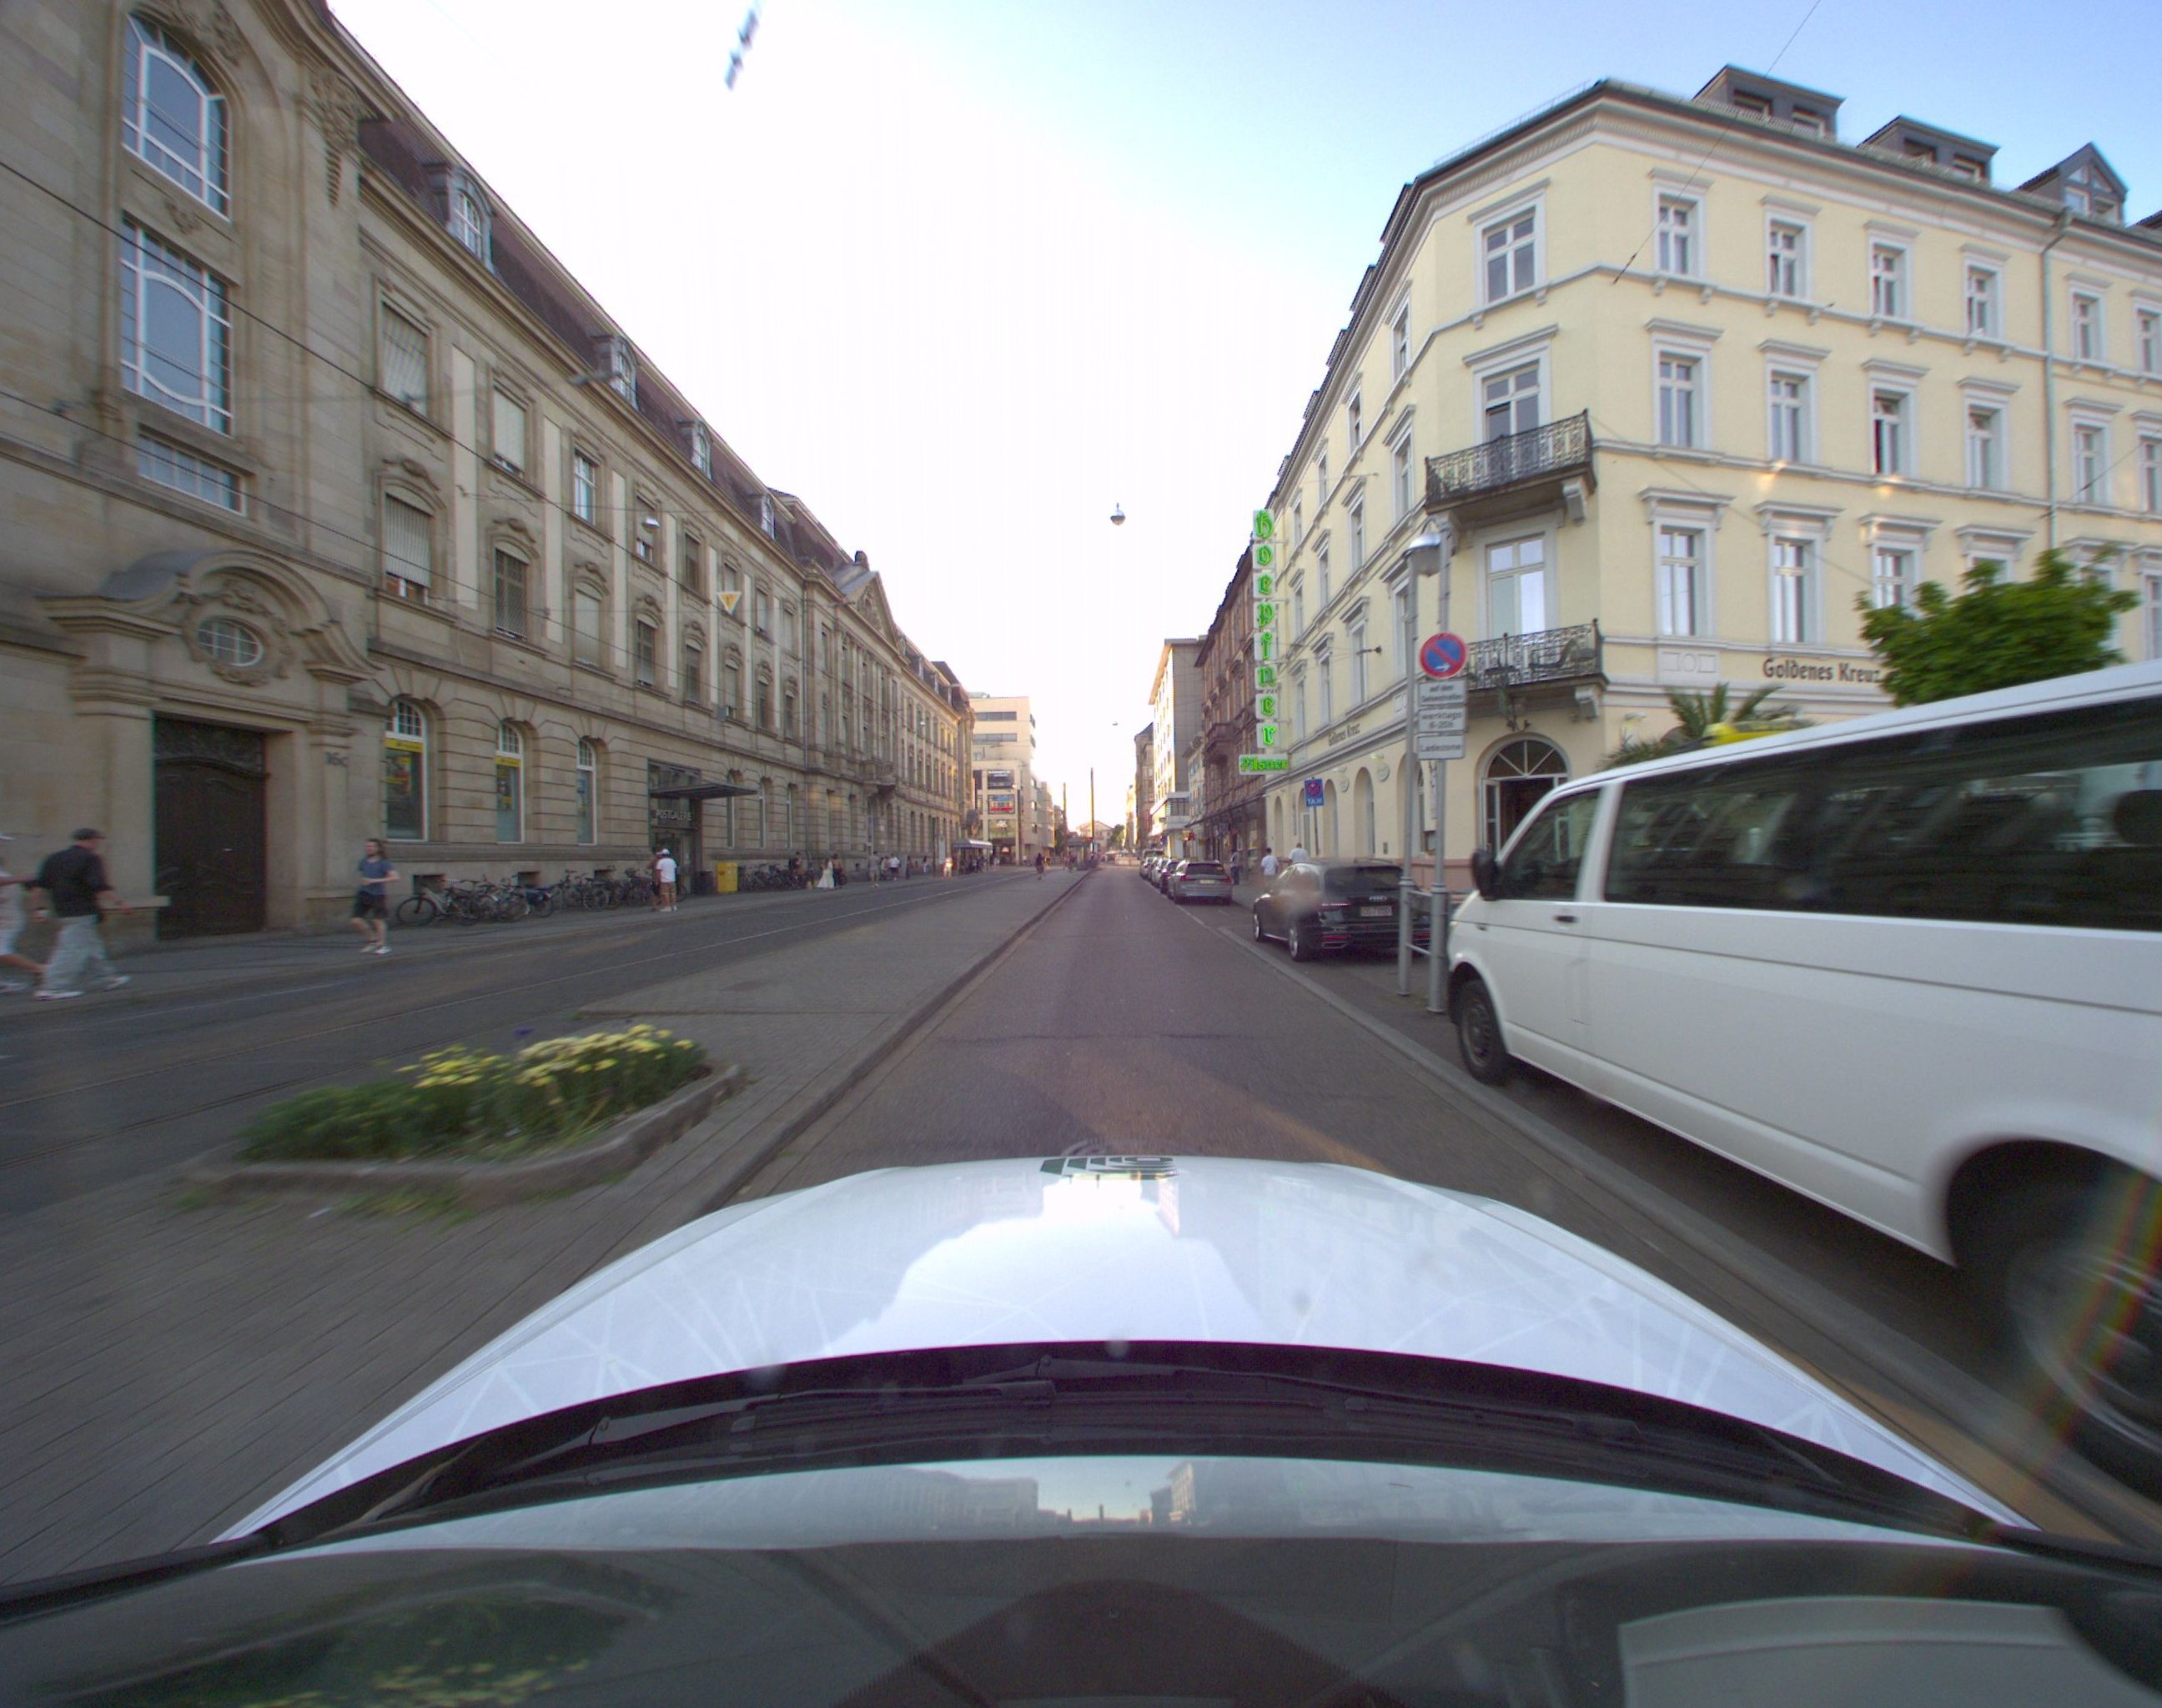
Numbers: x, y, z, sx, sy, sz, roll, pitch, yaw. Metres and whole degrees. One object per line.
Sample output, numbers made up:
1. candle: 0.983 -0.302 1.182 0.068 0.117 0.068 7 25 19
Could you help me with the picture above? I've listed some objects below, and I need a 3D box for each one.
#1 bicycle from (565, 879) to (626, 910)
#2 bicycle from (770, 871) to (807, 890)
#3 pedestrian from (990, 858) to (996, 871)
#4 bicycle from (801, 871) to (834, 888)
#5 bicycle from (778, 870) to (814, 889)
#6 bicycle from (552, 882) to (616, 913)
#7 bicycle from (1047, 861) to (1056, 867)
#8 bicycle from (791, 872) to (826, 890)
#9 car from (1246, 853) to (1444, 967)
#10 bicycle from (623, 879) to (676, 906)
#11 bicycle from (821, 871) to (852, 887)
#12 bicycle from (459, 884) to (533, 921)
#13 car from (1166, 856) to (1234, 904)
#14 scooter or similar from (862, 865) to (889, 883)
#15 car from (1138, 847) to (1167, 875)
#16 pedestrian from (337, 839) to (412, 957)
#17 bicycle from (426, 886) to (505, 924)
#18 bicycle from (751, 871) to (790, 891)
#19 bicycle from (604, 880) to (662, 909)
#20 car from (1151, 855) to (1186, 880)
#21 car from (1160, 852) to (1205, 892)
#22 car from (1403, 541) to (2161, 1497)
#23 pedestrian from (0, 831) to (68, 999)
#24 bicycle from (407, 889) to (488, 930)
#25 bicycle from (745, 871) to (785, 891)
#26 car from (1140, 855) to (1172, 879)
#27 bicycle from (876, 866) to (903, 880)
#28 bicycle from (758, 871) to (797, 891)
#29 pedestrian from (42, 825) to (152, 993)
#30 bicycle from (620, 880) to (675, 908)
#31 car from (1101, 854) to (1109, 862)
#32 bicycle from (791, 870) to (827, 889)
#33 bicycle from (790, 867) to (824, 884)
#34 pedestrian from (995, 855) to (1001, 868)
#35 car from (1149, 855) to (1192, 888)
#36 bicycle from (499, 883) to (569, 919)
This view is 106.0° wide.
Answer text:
1. bicycle: -14.265 1.182 23.925 1.567 0.874 0.451 0 -1 6
2. bicycle: -13.585 1.225 37.824 1.567 0.874 0.451 0 -1 6
3. pedestrian: -10.076 1.179 93.138 0.519 1.525 0.499 0 -1 -15
4. bicycle: -13.811 1.350 42.742 1.567 0.874 0.451 0 -1 6
5. bicycle: -13.456 1.216 38.458 1.567 0.874 0.451 0 -1 6
6. bicycle: -14.115 1.231 23.139 1.567 0.874 0.451 0 -1 6
7. bicycle: -5.420 1.867 149.555 1.688 1.122 0.451 0 -1 3
8. bicycle: -13.362 1.334 39.955 1.567 0.874 0.451 0 -1 6
9. car: 3.850 0.746 12.740 1.690 1.390 4.549 -2 -1 2
10. bicycle: -14.410 1.282 27.188 1.567 0.874 0.451 0 -1 6
11. bicycle: -13.406 1.365 44.607 1.567 0.874 0.451 0 -1 6
12. bicycle: -14.358 1.191 19.997 1.567 0.874 0.451 0 -1 6
13. car: 4.004 0.826 28.121 1.799 1.475 4.695 0 0 1
14. scooter or similar: -12.682 1.232 50.224 1.539 1.068 0.451 0 -1 6
15. car: 5.297 0.539 61.181 1.870 1.923 4.701 1 -1 1
16. pedestrian: -10.832 0.654 12.503 0.679 1.736 0.480 -2 0 -15
17. bicycle: -14.417 1.189 19.077 1.567 0.874 0.451 0 -1 6
18. bicycle: -13.774 1.202 36.146 1.567 0.874 0.451 0 -1 6
19. bicycle: -13.897 1.259 25.271 1.567 0.874 0.451 0 -1 6
20. car: 5.242 0.810 49.190 1.720 1.477 4.821 0 -1 1
21. car: 4.335 0.767 35.204 1.725 1.590 4.447 1 -1 5
22. car: 3.320 0.359 3.596 1.845 2.067 5.218 -2 -1 2
23. pedestrian: -11.554 0.642 8.662 0.681 1.736 0.672 -2 0 -20
24. bicycle: -14.404 1.256 18.536 1.567 0.874 0.451 0 -1 6
25. bicycle: -13.765 1.166 35.499 1.567 0.874 0.451 0 -1 6
26. car: 5.011 0.866 54.639 1.799 1.483 4.780 1 0 1
27. bicycle: -12.274 1.215 52.207 1.567 0.874 0.451 0 -1 6
28. bicycle: -13.691 1.218 36.729 1.567 0.874 0.451 0 -1 6
29. pedestrian: -10.678 0.570 8.860 0.653 1.736 0.588 -2 0 -43
30. bicycle: -13.989 1.271 26.268 1.567 0.874 0.451 0 -1 6
31. car: 5.913 0.934 204.655 1.986 1.904 4.001 0 -1 1
32. bicycle: -13.086 1.217 39.213 1.567 0.874 0.451 0 -1 6
33. bicycle: -13.824 1.079 41.122 1.567 0.874 0.451 0 -1 6
34. pedestrian: -9.555 0.830 93.712 0.528 1.525 0.499 0 -1 -23
35. car: 4.468 0.862 41.169 1.726 1.511 4.866 1 -1 1
36. bicycle: -14.046 1.204 20.920 1.567 0.874 0.451 0 -1 6
